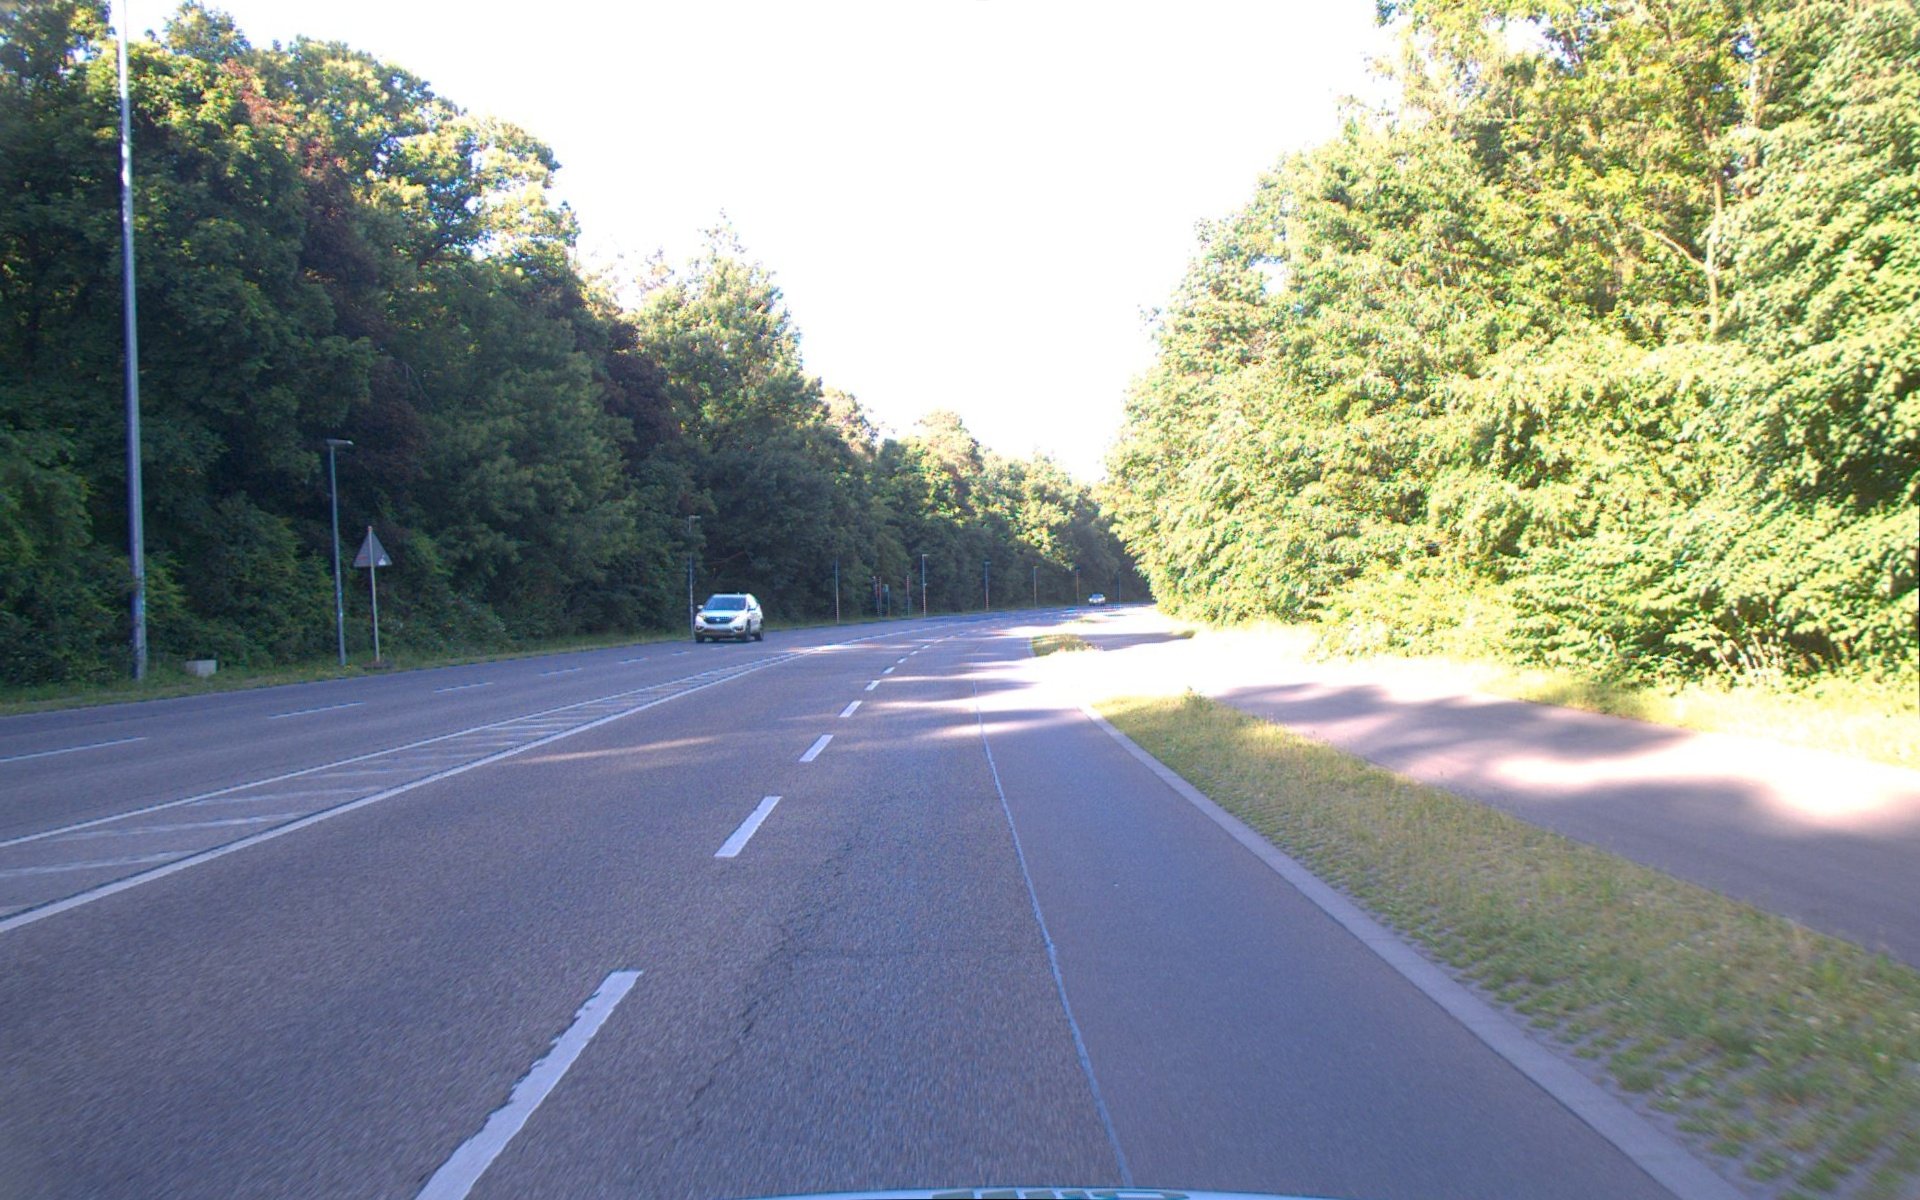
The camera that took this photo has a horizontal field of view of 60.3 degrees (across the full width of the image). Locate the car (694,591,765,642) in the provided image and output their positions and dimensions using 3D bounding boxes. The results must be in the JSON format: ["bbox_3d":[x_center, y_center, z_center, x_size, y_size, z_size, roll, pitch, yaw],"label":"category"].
[{"bbox_3d":[-8.020,0.556,57.842,1.869,1.693,4.733,0,0,-1],"label":"car"}]

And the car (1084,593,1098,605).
[{"bbox_3d":[18.766,-0.126,237.526,1.952,1.613,4.001,-1,-1,3],"label":"car"}]
